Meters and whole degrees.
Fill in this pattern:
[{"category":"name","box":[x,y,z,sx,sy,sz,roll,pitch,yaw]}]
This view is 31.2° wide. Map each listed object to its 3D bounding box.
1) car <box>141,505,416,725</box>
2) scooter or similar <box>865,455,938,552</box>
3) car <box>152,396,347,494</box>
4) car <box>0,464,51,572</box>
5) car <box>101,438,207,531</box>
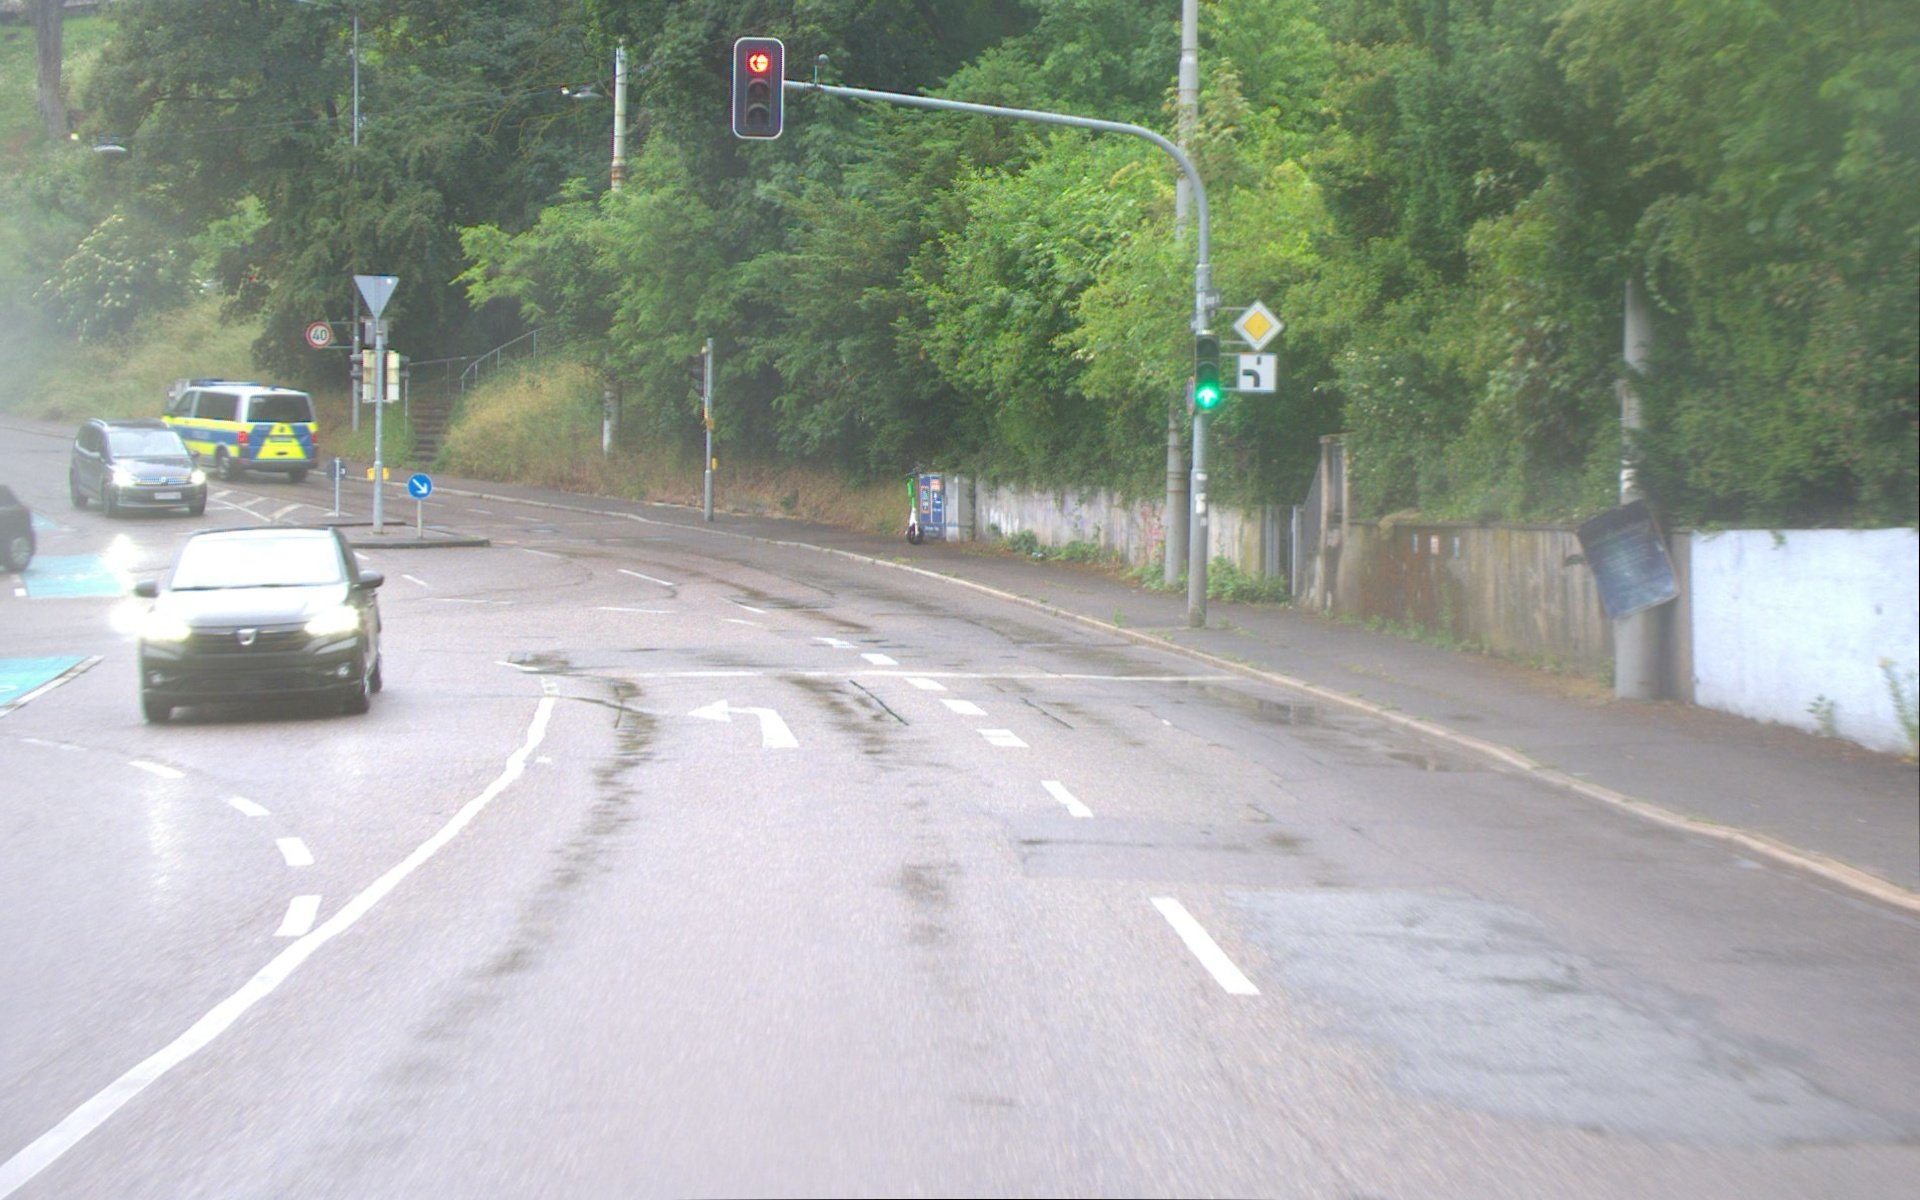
[{"category":"car","box":[-5.501,0.055,28.169,1.741,1.544,4.001,-3,3,-5]},{"category":"scooter or similar","box":[-0.950,-1.573,55.520,0.616,1.416,2.160,-2,6,-16]},{"category":"car","box":[-15.199,-3.321,73.386,2.309,1.932,4.324,-5,5,-38]},{"category":"car","box":[-15.524,-1.097,50.688,1.744,1.544,3.995,1,6,29]},{"category":"car","box":[-15.108,-2.194,64.342,1.740,1.544,4.002,-3,4,-15]}]
